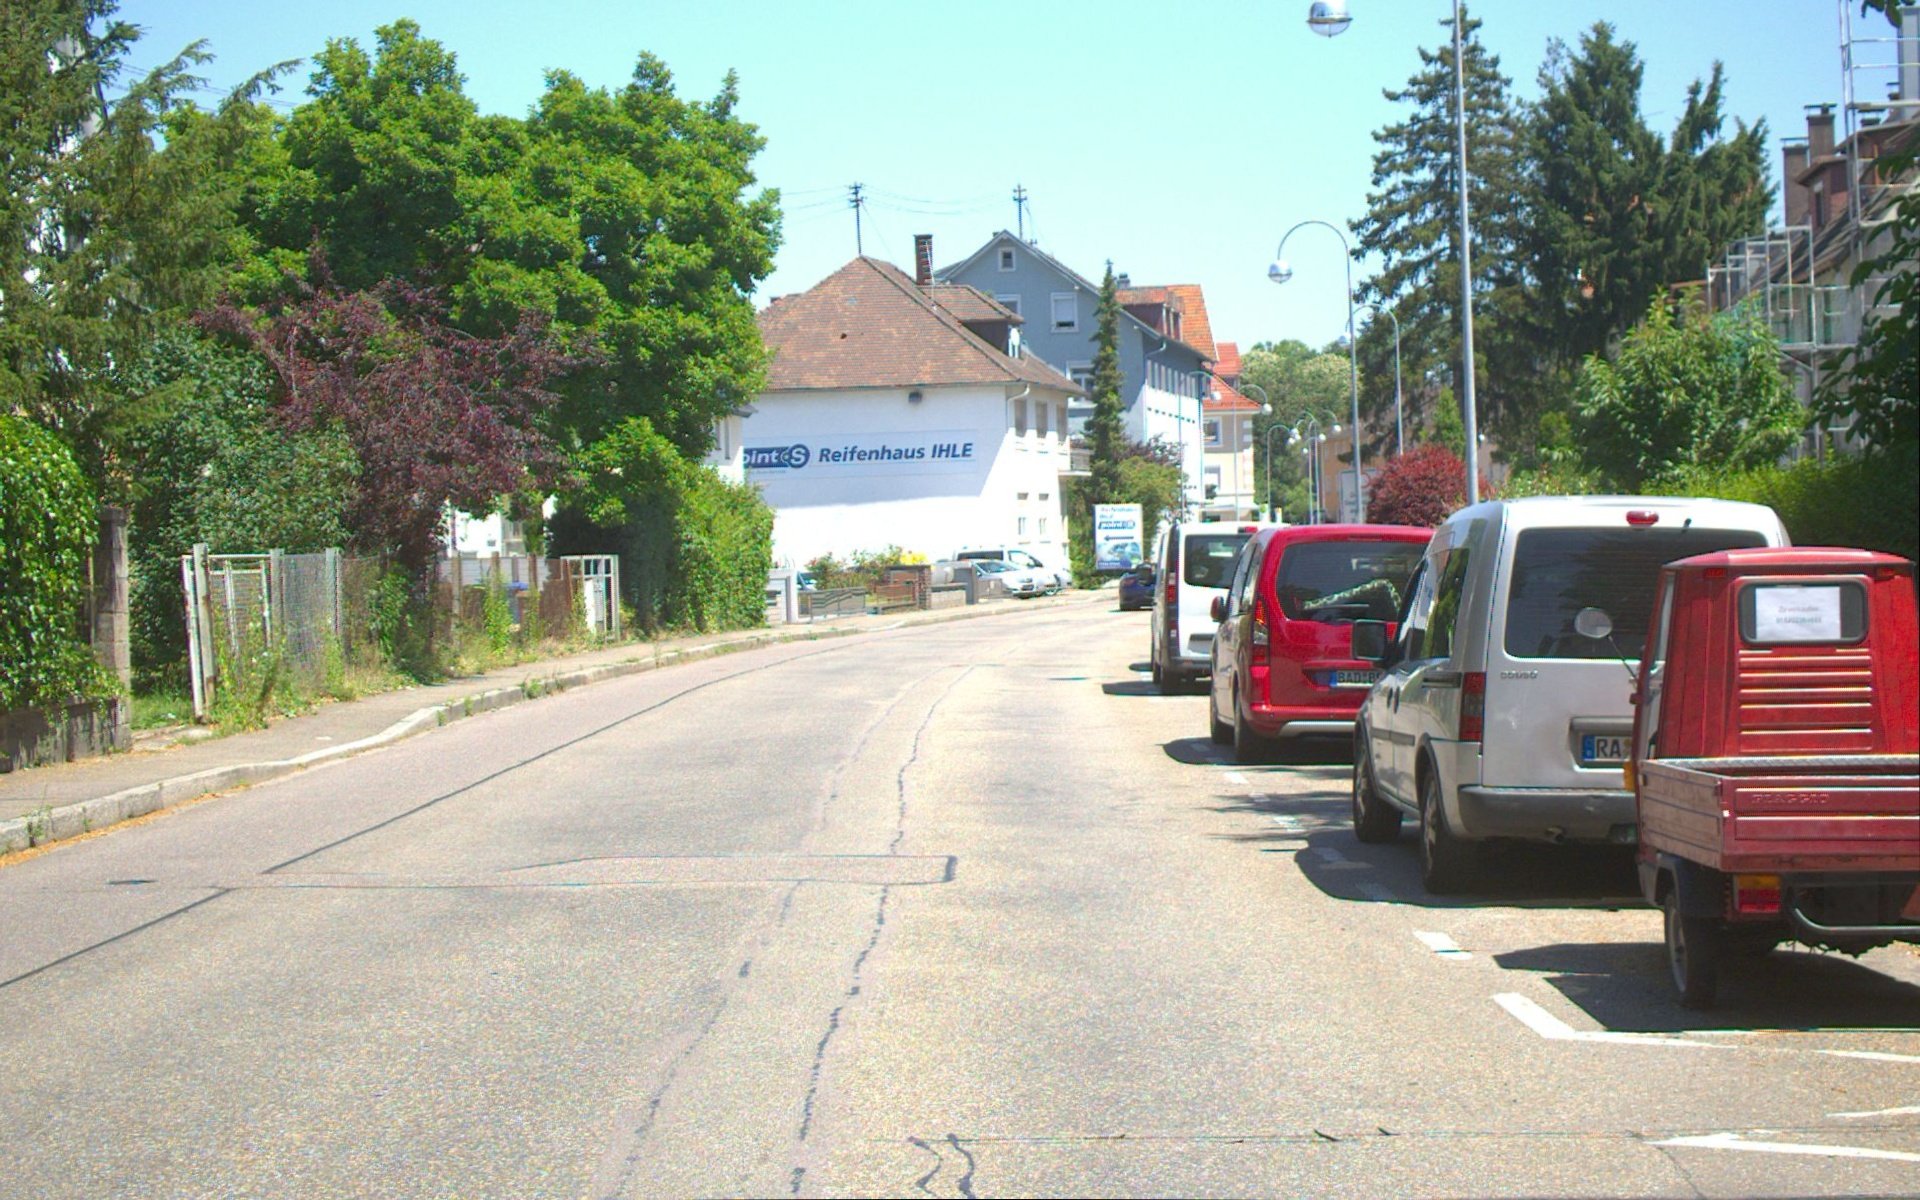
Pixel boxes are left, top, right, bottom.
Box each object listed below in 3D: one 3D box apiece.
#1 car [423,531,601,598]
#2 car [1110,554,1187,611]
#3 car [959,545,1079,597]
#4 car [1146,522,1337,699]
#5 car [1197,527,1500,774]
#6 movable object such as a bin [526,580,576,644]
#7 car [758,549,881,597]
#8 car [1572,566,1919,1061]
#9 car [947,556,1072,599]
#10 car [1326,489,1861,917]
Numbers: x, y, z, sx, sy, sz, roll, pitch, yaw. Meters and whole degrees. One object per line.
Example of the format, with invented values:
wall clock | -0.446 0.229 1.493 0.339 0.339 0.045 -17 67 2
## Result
car | -10.452 -0.832 80.425 3.986 1.505 1.800 0 1 -2
car | 5.260 -0.505 95.582 1.795 1.505 3.999 1 1 8
car | 2.116 -1.027 122.569 4.129 1.768 1.828 -1 1 6
car | 3.200 0.076 39.907 1.903 1.918 4.719 0 1 1
car | 2.910 0.341 26.624 1.903 1.722 4.391 1 0 1
movable object such as a bin | -6.385 0.186 53.667 0.708 0.993 0.474 -1 1 0
car | -4.619 -0.889 112.381 1.795 1.505 3.998 -2 2 -44
car | 2.940 0.638 11.784 1.260 1.490 2.709 1 1 2
car | 1.726 -0.783 120.065 4.130 1.389 1.828 -1 1 9
car | 2.898 0.406 16.698 1.746 1.776 4.543 1 1 0
